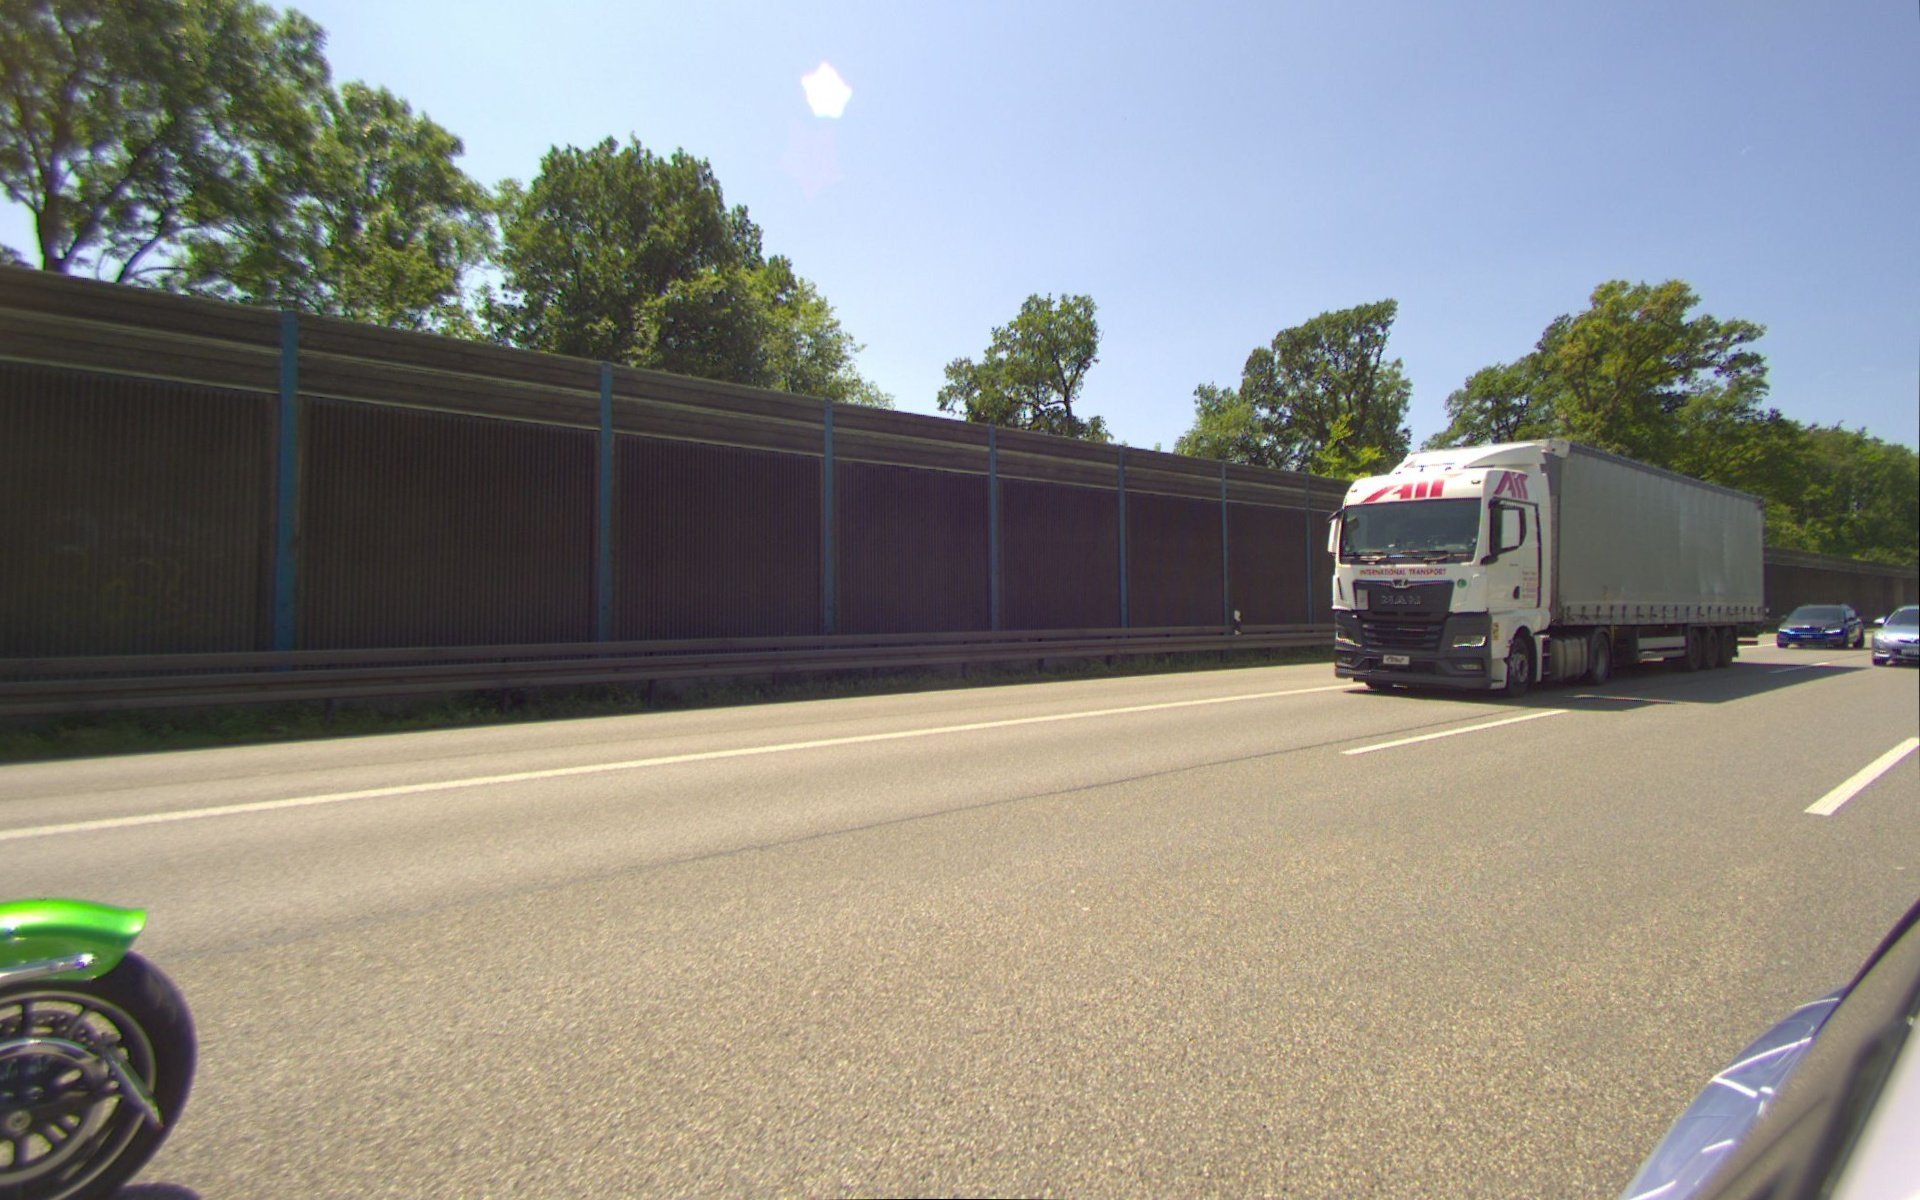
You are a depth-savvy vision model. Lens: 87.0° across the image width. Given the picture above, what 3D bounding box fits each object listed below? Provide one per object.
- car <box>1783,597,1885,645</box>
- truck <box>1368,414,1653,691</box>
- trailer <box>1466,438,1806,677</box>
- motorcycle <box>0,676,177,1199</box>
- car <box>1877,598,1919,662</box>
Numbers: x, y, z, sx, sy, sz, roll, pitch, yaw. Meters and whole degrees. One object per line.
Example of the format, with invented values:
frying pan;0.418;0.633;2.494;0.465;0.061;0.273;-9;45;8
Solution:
car;29.289;0.679;33.896;4.100;1.512;1.860;0;-1;-39
truck;9.847;-0.738;17.913;5.453;4.142;2.604;0;0;-40
trailer;15.771;-0.793;22.812;13.348;4.142;2.604;0;0;-39
motorcycle;-2.727;0.797;1.672;2.236;1.197;0.861;0;-1;-40
car;23.500;0.694;24.083;4.100;1.452;1.860;0;-1;-39
